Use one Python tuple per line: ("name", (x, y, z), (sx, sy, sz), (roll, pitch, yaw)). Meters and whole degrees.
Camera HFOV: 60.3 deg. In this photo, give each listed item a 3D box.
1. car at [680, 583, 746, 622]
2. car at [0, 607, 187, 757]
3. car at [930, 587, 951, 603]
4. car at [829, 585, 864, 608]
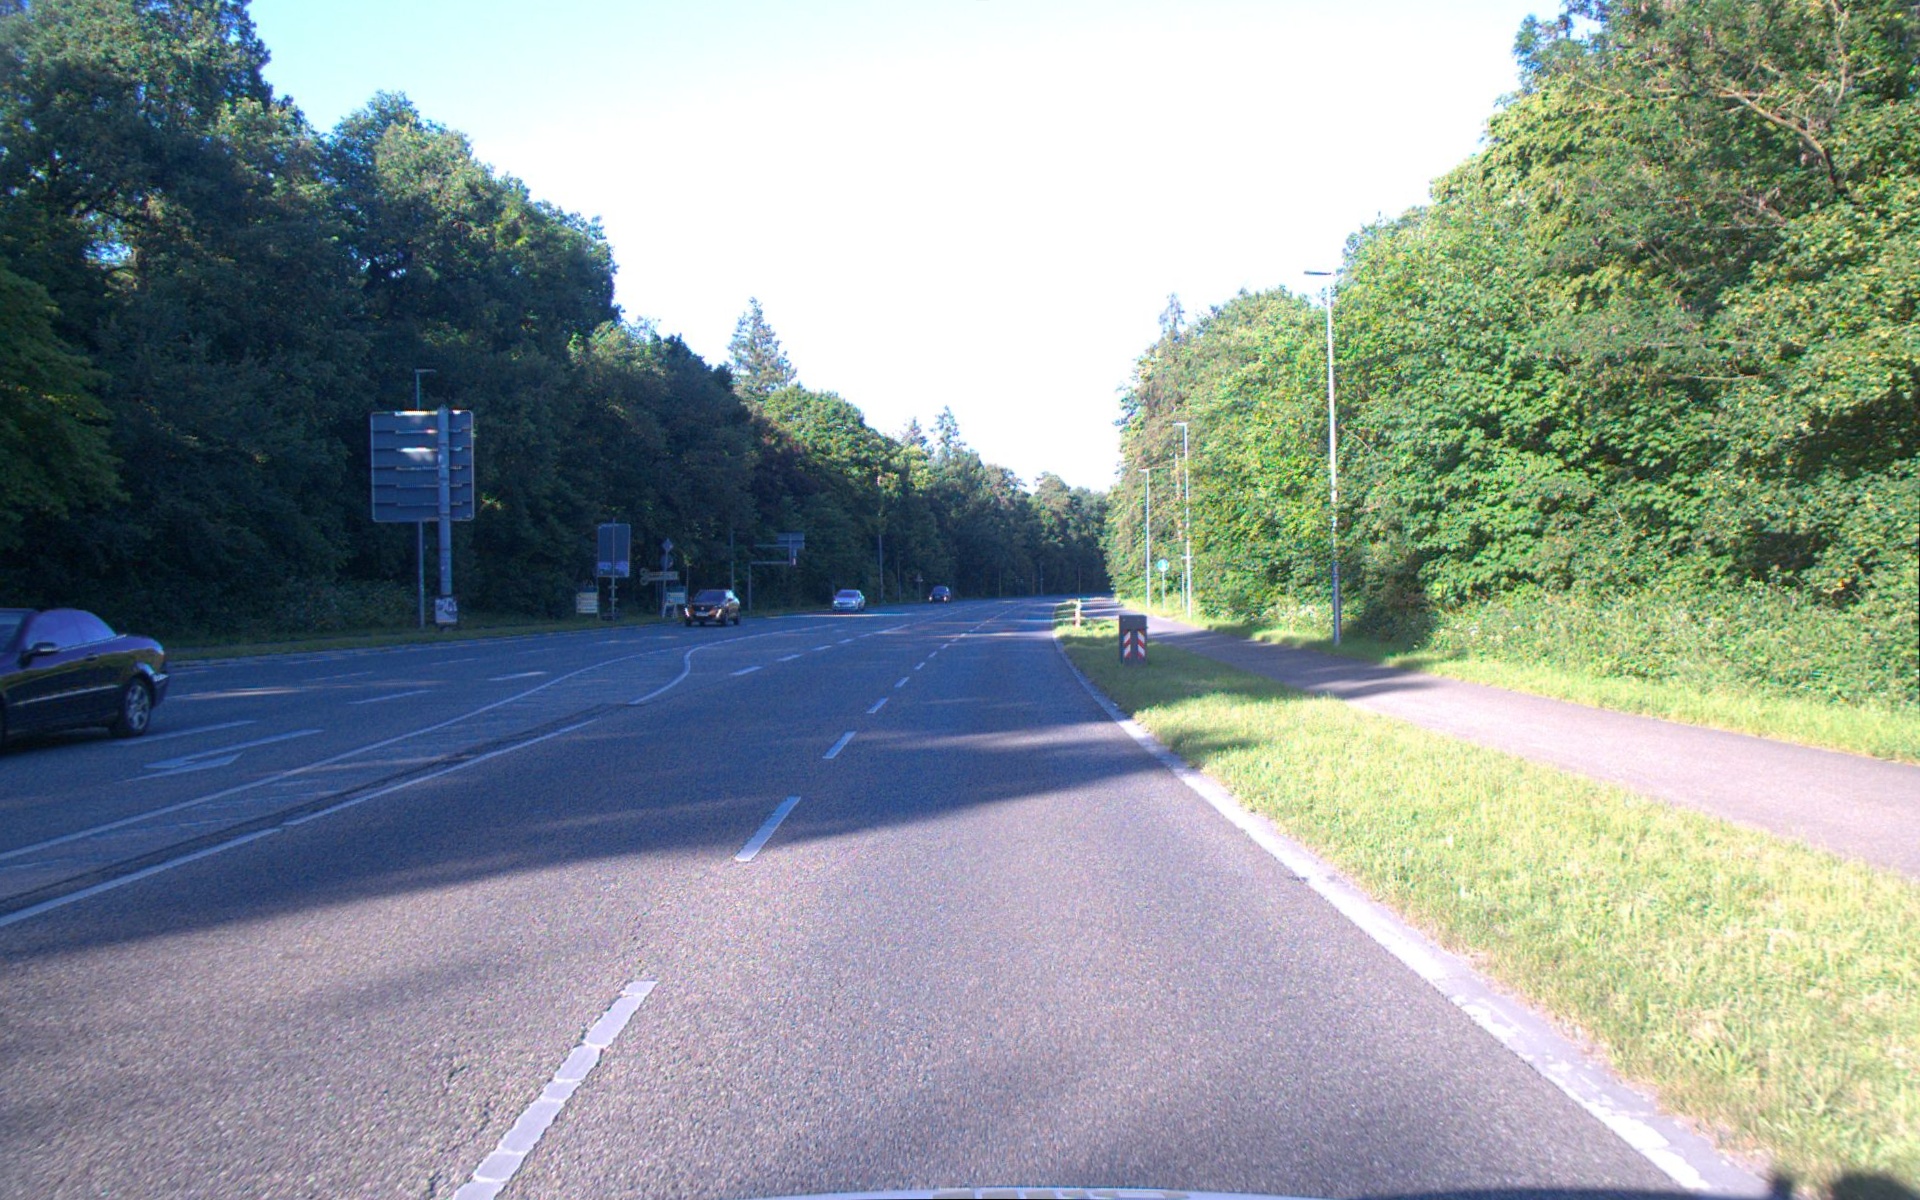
("car", (-10.406, 0.087, 69.831), (1.786, 1.571, 4.259), (0, 0, 5))
("car", (-9.191, 0.738, 15.565), (1.708, 1.256, 4.672), (-1, 0, -2))
("car", (-1.937, -0.498, 165.697), (1.786, 1.617, 4.353), (0, 0, 4))
("car", (-7.623, -0.248, 111.370), (1.786, 1.530, 4.308), (0, 0, 4))
